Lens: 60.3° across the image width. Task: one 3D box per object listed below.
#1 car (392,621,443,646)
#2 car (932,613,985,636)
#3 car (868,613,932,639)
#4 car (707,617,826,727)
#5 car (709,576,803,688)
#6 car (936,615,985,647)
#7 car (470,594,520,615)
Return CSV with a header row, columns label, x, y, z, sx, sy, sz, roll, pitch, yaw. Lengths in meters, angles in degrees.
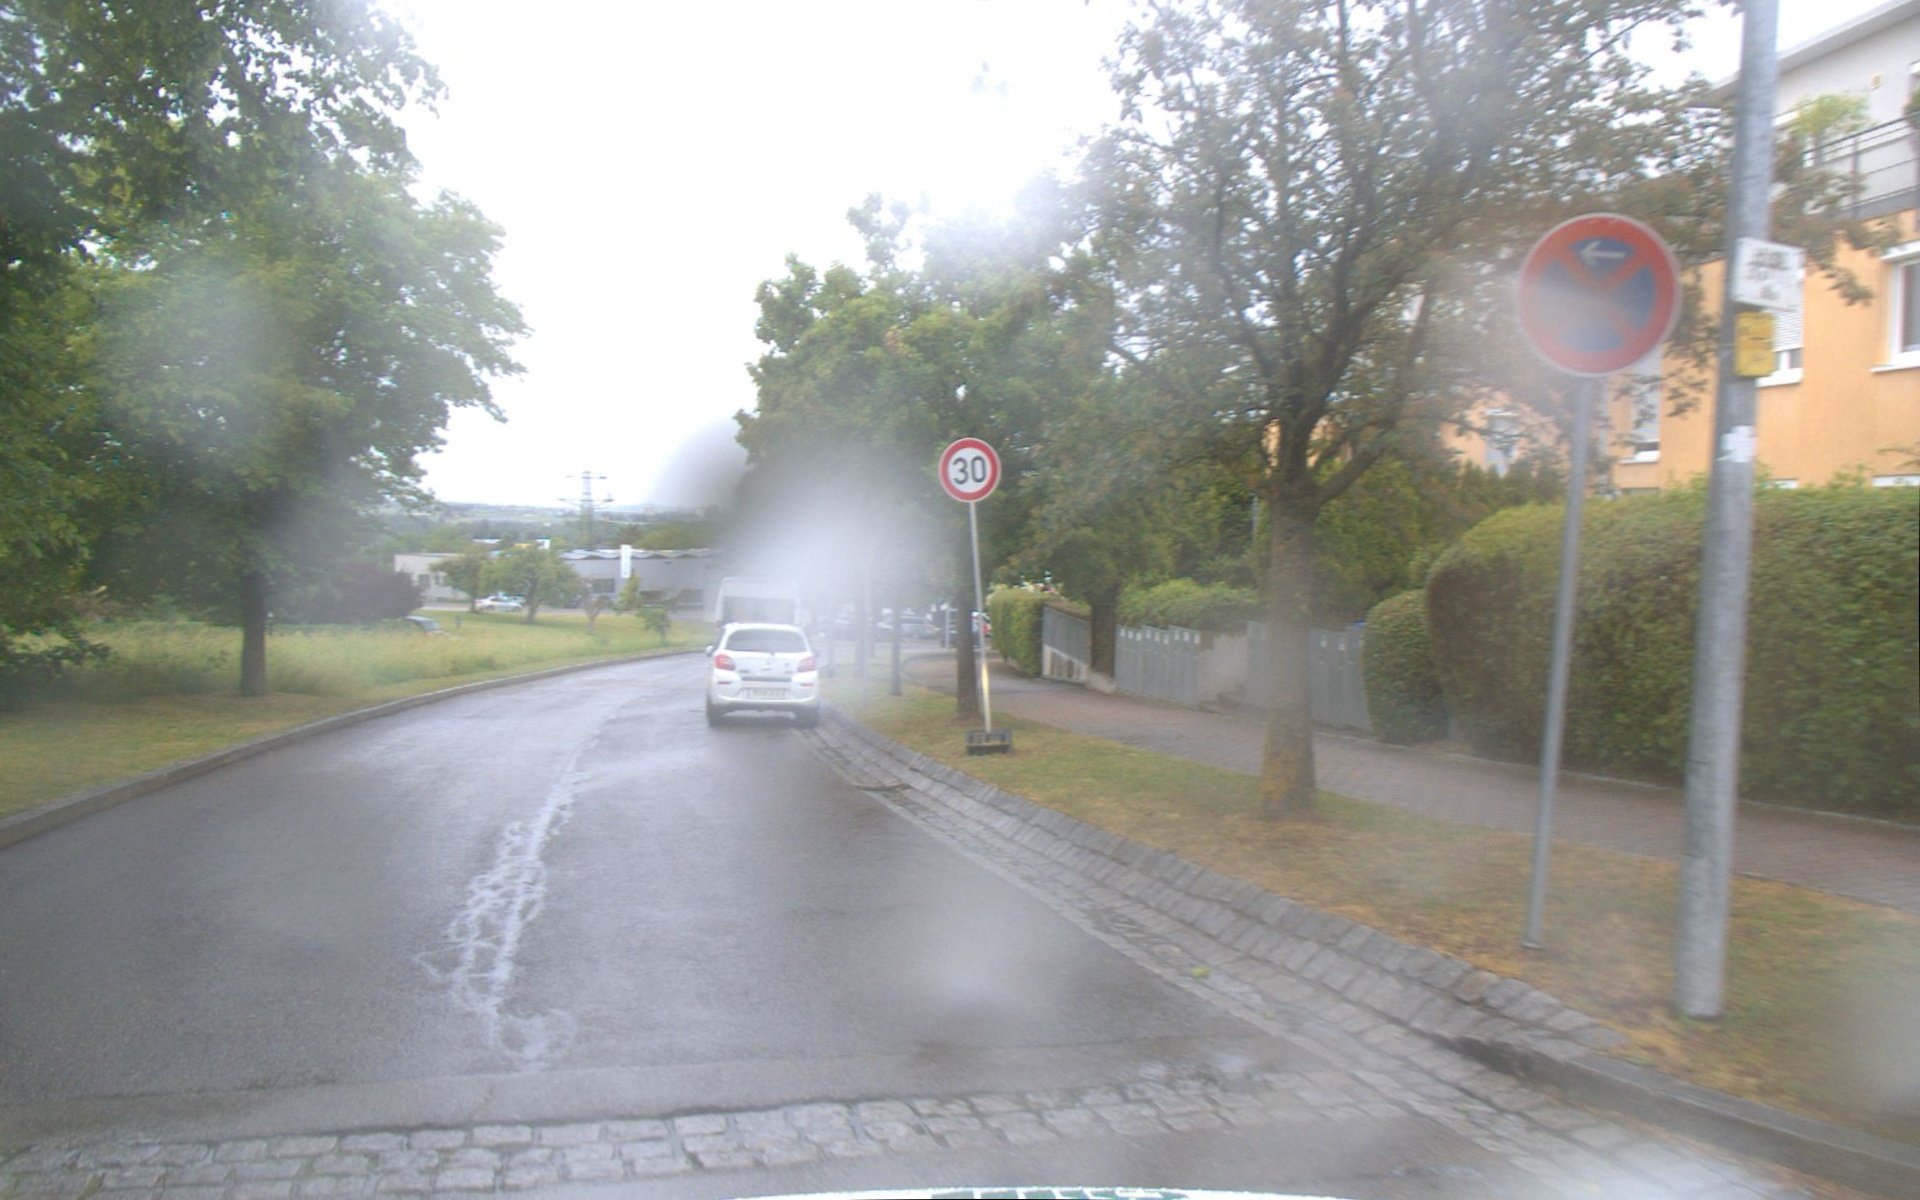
label,x,y,z,sx,sy,sz,roll,pitch,yaw
car,-38.626,2.399,117.760,3.929,1.624,1.770,2,1,42
car,-0.117,1.777,118.415,3.485,1.634,1.694,0,-1,14
car,-3.836,1.663,105.622,3.787,1.574,1.775,1,-1,10
car,-3.034,1.046,25.382,1.576,1.529,3.717,2,-1,-10
car,-4.949,0.757,40.694,2.077,2.510,5.503,1,-1,-6
car,0.037,1.664,90.017,1.651,1.579,3.699,2,1,16
car,-45.688,0.470,162.547,4.240,1.731,1.770,3,1,-43
